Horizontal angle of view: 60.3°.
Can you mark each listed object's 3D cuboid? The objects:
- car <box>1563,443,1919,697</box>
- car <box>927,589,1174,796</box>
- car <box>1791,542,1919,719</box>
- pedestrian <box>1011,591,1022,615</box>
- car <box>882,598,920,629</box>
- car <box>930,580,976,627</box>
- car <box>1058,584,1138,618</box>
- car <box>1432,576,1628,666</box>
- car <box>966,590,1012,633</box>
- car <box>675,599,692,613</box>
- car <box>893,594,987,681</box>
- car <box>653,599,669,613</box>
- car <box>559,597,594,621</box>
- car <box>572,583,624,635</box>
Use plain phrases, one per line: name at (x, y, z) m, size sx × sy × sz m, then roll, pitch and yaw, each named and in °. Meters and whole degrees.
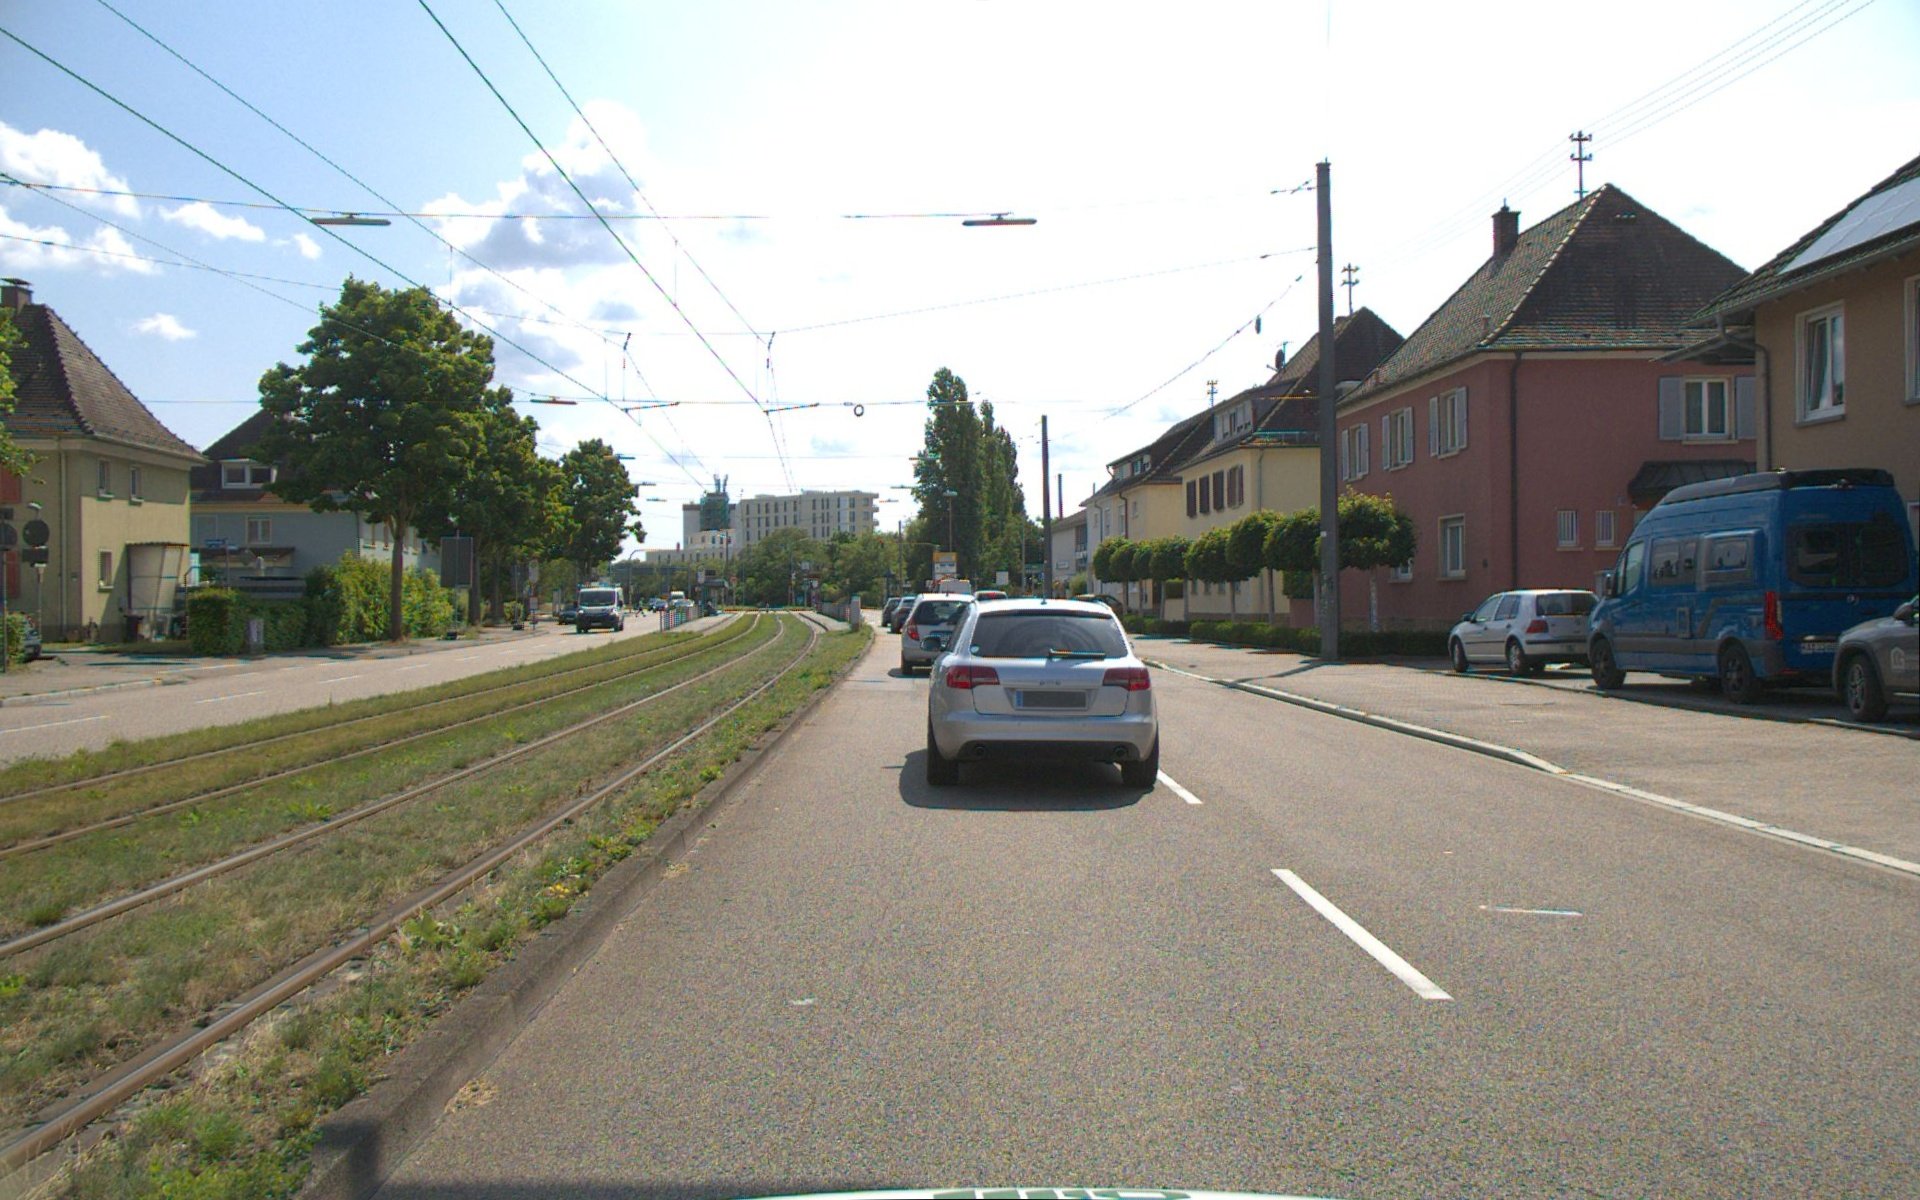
car at (10.474, -0.347, 22.612) m, size 2.108 × 2.981 × 6.243 m, roll 0°, pitch 0°, yaw -1°
car at (0.727, 0.674, 14.432) m, size 1.816 × 1.518 × 4.537 m, roll 0°, pitch 0°, yaw 2°
car at (10.435, 0.271, 16.361) m, size 1.799 × 1.741 × 4.862 m, roll -3°, pitch 1°, yaw -2°
pedestrian at (4.492, 0.245, 132.086) m, size 0.707 × 1.813 × 0.702 m, roll -3°, pitch 0°, yaw -4°
car at (-2.992, 0.687, 84.346) m, size 1.847 × 1.557 × 4.093 m, roll 0°, pitch 0°, yaw -1°
car at (-0.437, 0.191, 94.147) m, size 2.002 × 2.602 × 5.223 m, roll -1°, pitch 0°, yaw -7°
car at (6.865, 0.019, 82.093) m, size 1.883 × 1.483 × 4.067 m, roll 0°, pitch 3°, yaw 43°
car at (10.039, 0.353, 29.497) m, size 1.617 × 1.434 × 4.345 m, roll -2°, pitch 0°, yaw -6°
car at (1.273, 0.481, 71.553) m, size 1.846 × 1.761 × 4.096 m, roll -1°, pitch 0°, yaw 3°
car at (-31.917, 0.689, 190.895) m, size 1.862 × 1.568 × 3.720 m, roll 0°, pitch 0°, yaw -10°
car at (-0.413, 0.707, 33.619) m, size 1.751 × 1.604 × 4.093 m, roll 1°, pitch 0°, yaw -1°
car at (-36.002, 0.696, 199.131) m, size 1.829 × 1.680 × 3.990 m, roll 0°, pitch 0°, yaw -11°
car at (-26.319, 0.612, 113.478) m, size 1.751 × 1.612 × 3.927 m, roll -1°, pitch 0°, yaw -5°
car at (-17.999, 0.463, 82.441) m, size 2.156 × 2.413 × 5.320 m, roll -2°, pitch 0°, yaw -10°
